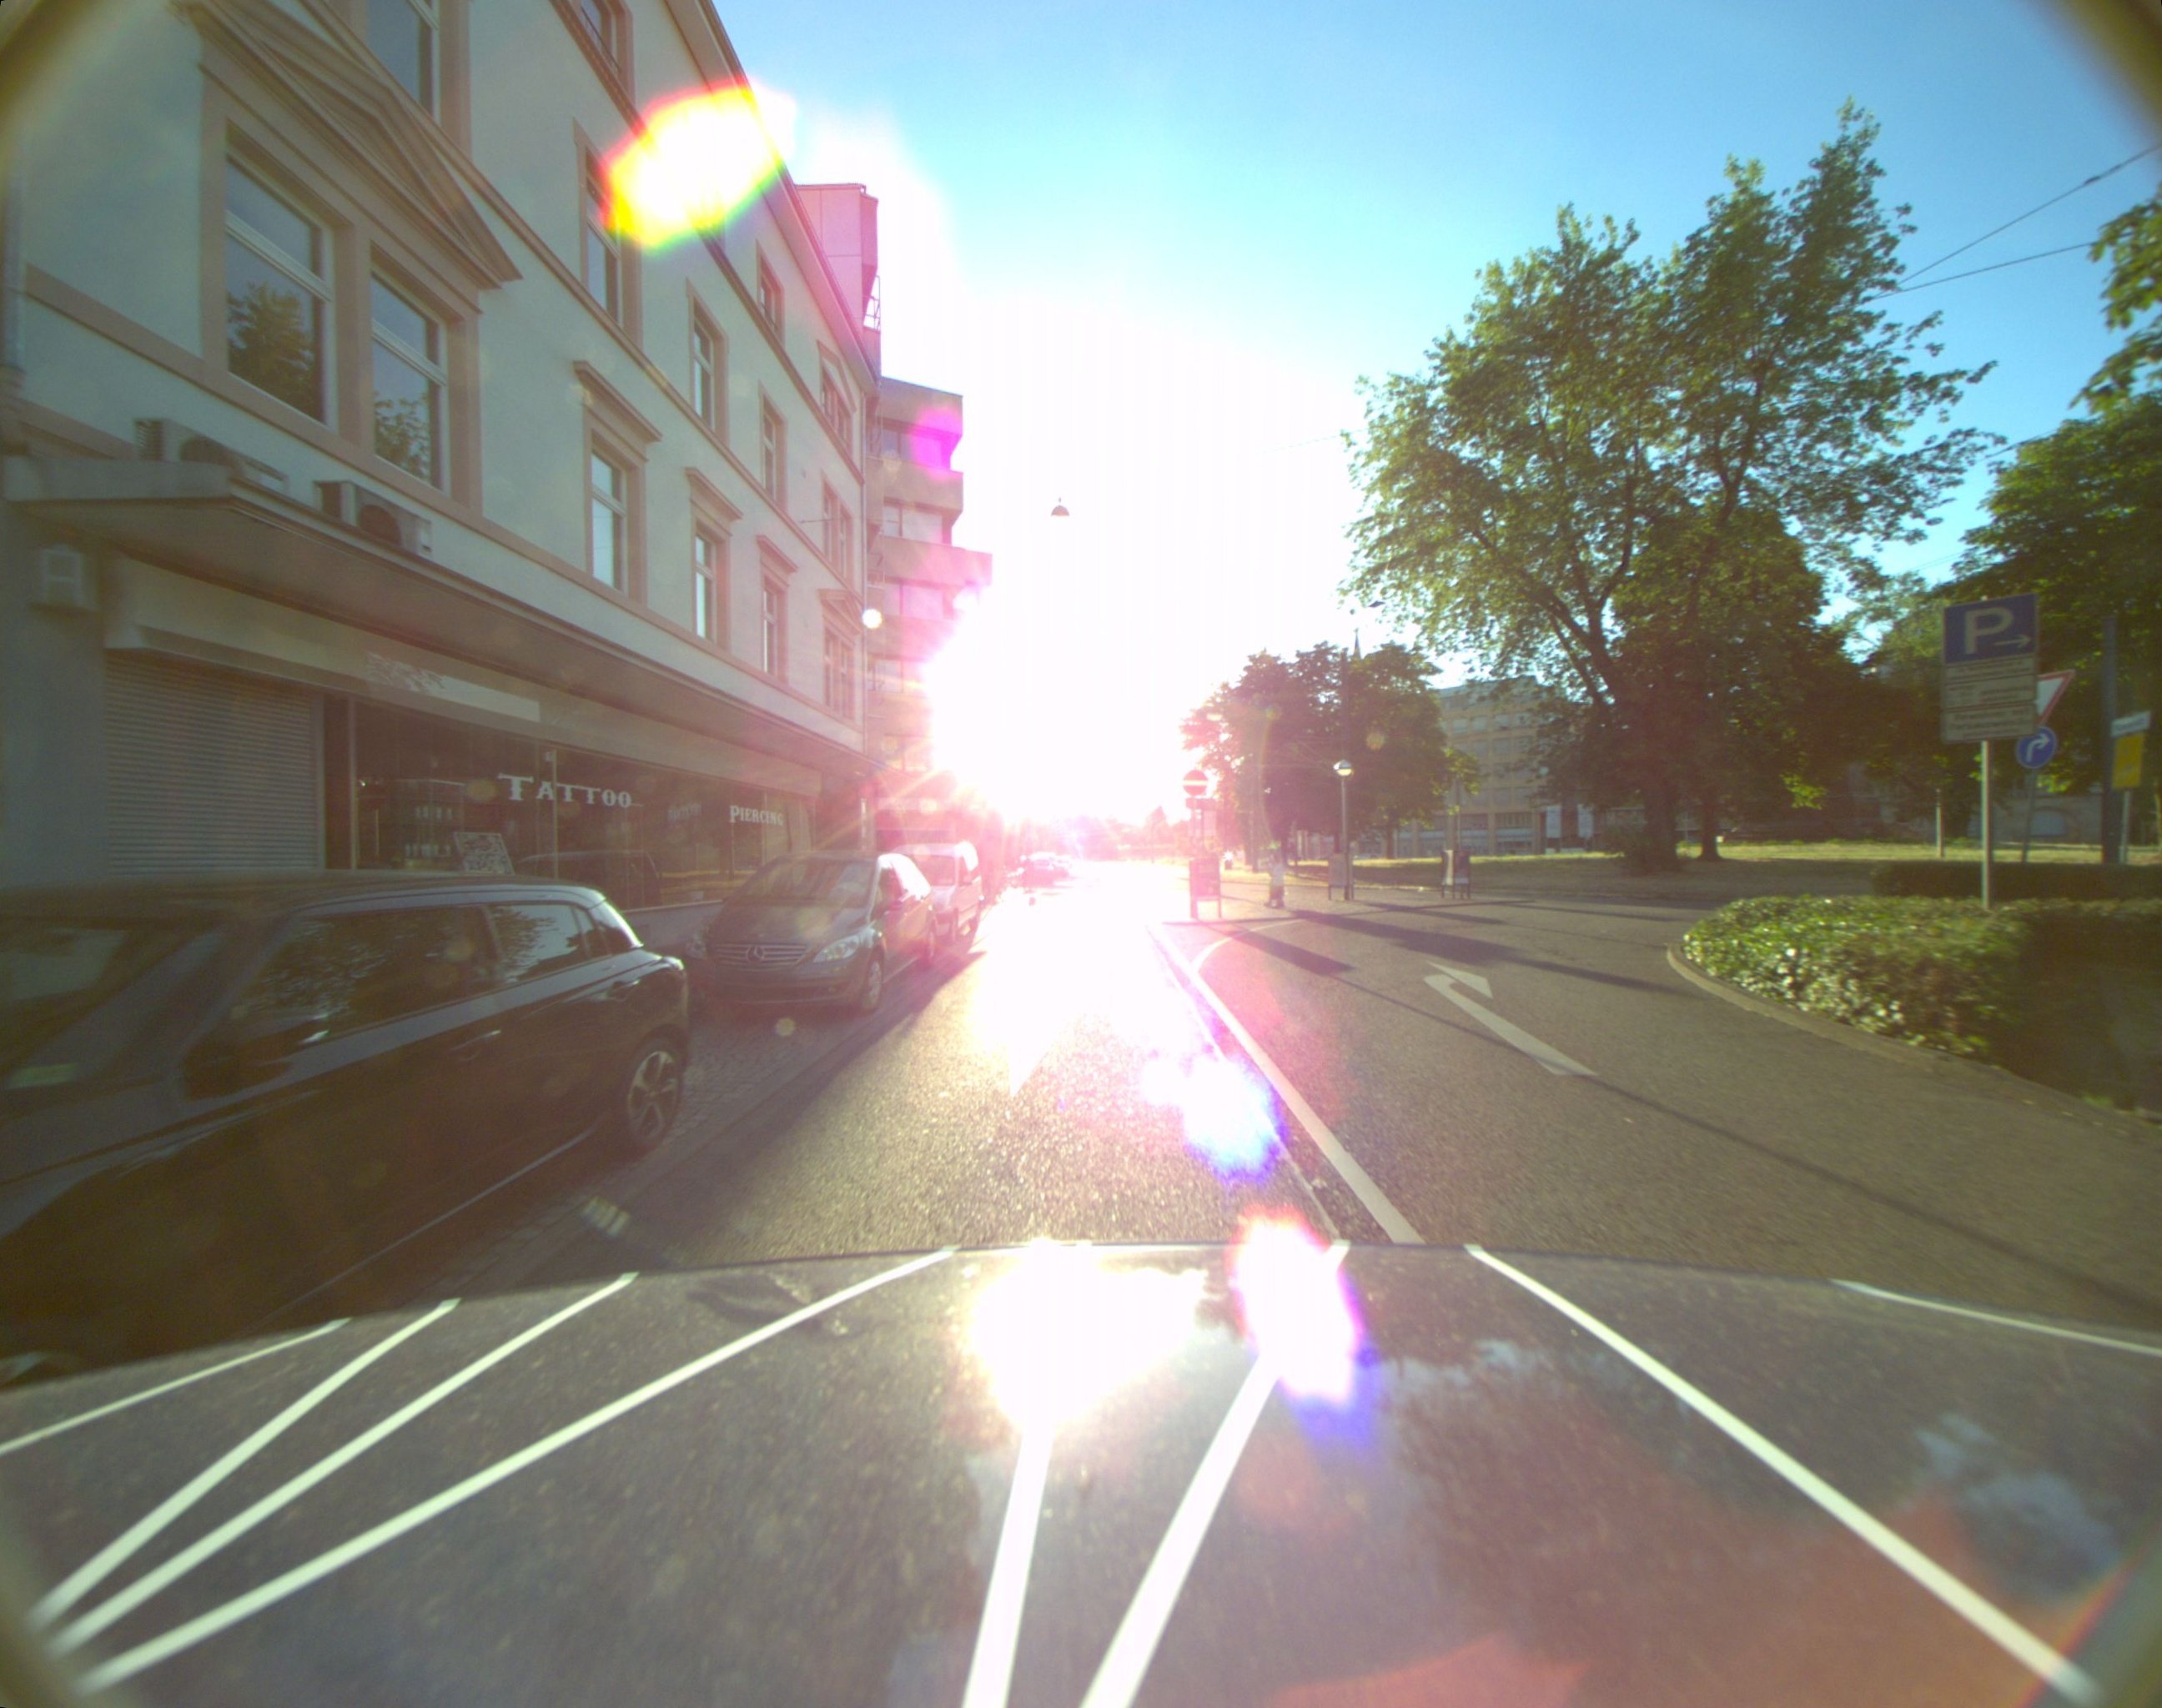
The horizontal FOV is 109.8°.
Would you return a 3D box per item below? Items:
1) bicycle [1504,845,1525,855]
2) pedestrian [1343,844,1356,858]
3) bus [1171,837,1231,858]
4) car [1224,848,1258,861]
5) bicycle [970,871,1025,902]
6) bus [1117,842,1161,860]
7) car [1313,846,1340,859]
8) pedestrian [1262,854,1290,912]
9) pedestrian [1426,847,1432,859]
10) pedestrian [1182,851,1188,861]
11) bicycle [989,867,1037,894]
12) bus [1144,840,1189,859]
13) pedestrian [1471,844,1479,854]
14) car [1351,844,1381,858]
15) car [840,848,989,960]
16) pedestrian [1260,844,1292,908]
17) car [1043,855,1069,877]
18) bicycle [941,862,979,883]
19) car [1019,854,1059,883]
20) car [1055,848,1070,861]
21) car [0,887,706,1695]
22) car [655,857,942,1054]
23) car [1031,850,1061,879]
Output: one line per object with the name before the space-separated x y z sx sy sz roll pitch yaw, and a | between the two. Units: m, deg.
bicycle | 53.352 -0.496 93.574 2.194 1.005 0.473 5 5 44
pedestrian | 41.501 -0.457 117.362 1.061 2.082 1.630 -2 0 -25
bus | 21.487 -1.063 136.910 3.765 3.342 13.688 -2 0 -24
car | 34.962 0.088 166.385 7.209 2.860 2.305 -1 0 -22
bicycle | -2.857 1.098 25.974 1.789 0.984 0.543 1 -1 24
bus | 11.984 -0.636 158.490 3.765 3.435 12.110 -2 0 -24
car | 40.338 -0.210 124.930 1.914 2.002 3.991 -2 0 -29
pedestrian | 4.687 0.684 18.251 0.613 1.356 0.565 -2 0 16
pedestrian | 50.710 -0.150 110.683 0.532 1.682 0.617 -2 0 -16
pedestrian | 16.418 0.296 120.072 0.672 1.450 0.699 -2 0 -3
bicycle | -2.674 1.047 30.019 1.790 0.984 0.542 2 -1 14
bus | 16.570 -0.781 148.033 3.765 3.311 10.716 -2 0 -24
pedestrian | 53.890 -0.626 103.875 0.567 1.316 0.683 -2 0 -10
car | 44.042 -0.432 117.456 1.858 2.002 3.902 -2 0 -29
car | -2.943 0.799 14.342 1.797 1.781 4.092 -1 0 1
pedestrian | 4.859 0.550 18.941 0.693 1.550 0.700 -2 0 17
car | -1.841 0.860 56.248 1.645 1.519 4.000 -2 0 2
bicycle | -6.055 0.934 38.174 1.895 0.999 0.457 1 0 -38
car | -2.294 0.789 42.401 1.794 1.499 3.921 -2 0 2
car | -2.262 0.073 92.730 1.655 1.525 4.066 -2 0 0
car | -3.046 0.976 2.424 1.671 1.535 3.883 -2 0 1
car | -2.850 0.895 8.704 1.661 1.655 4.108 -2 0 0
car | -2.327 0.691 50.919 1.788 1.794 4.401 -2 0 -1
